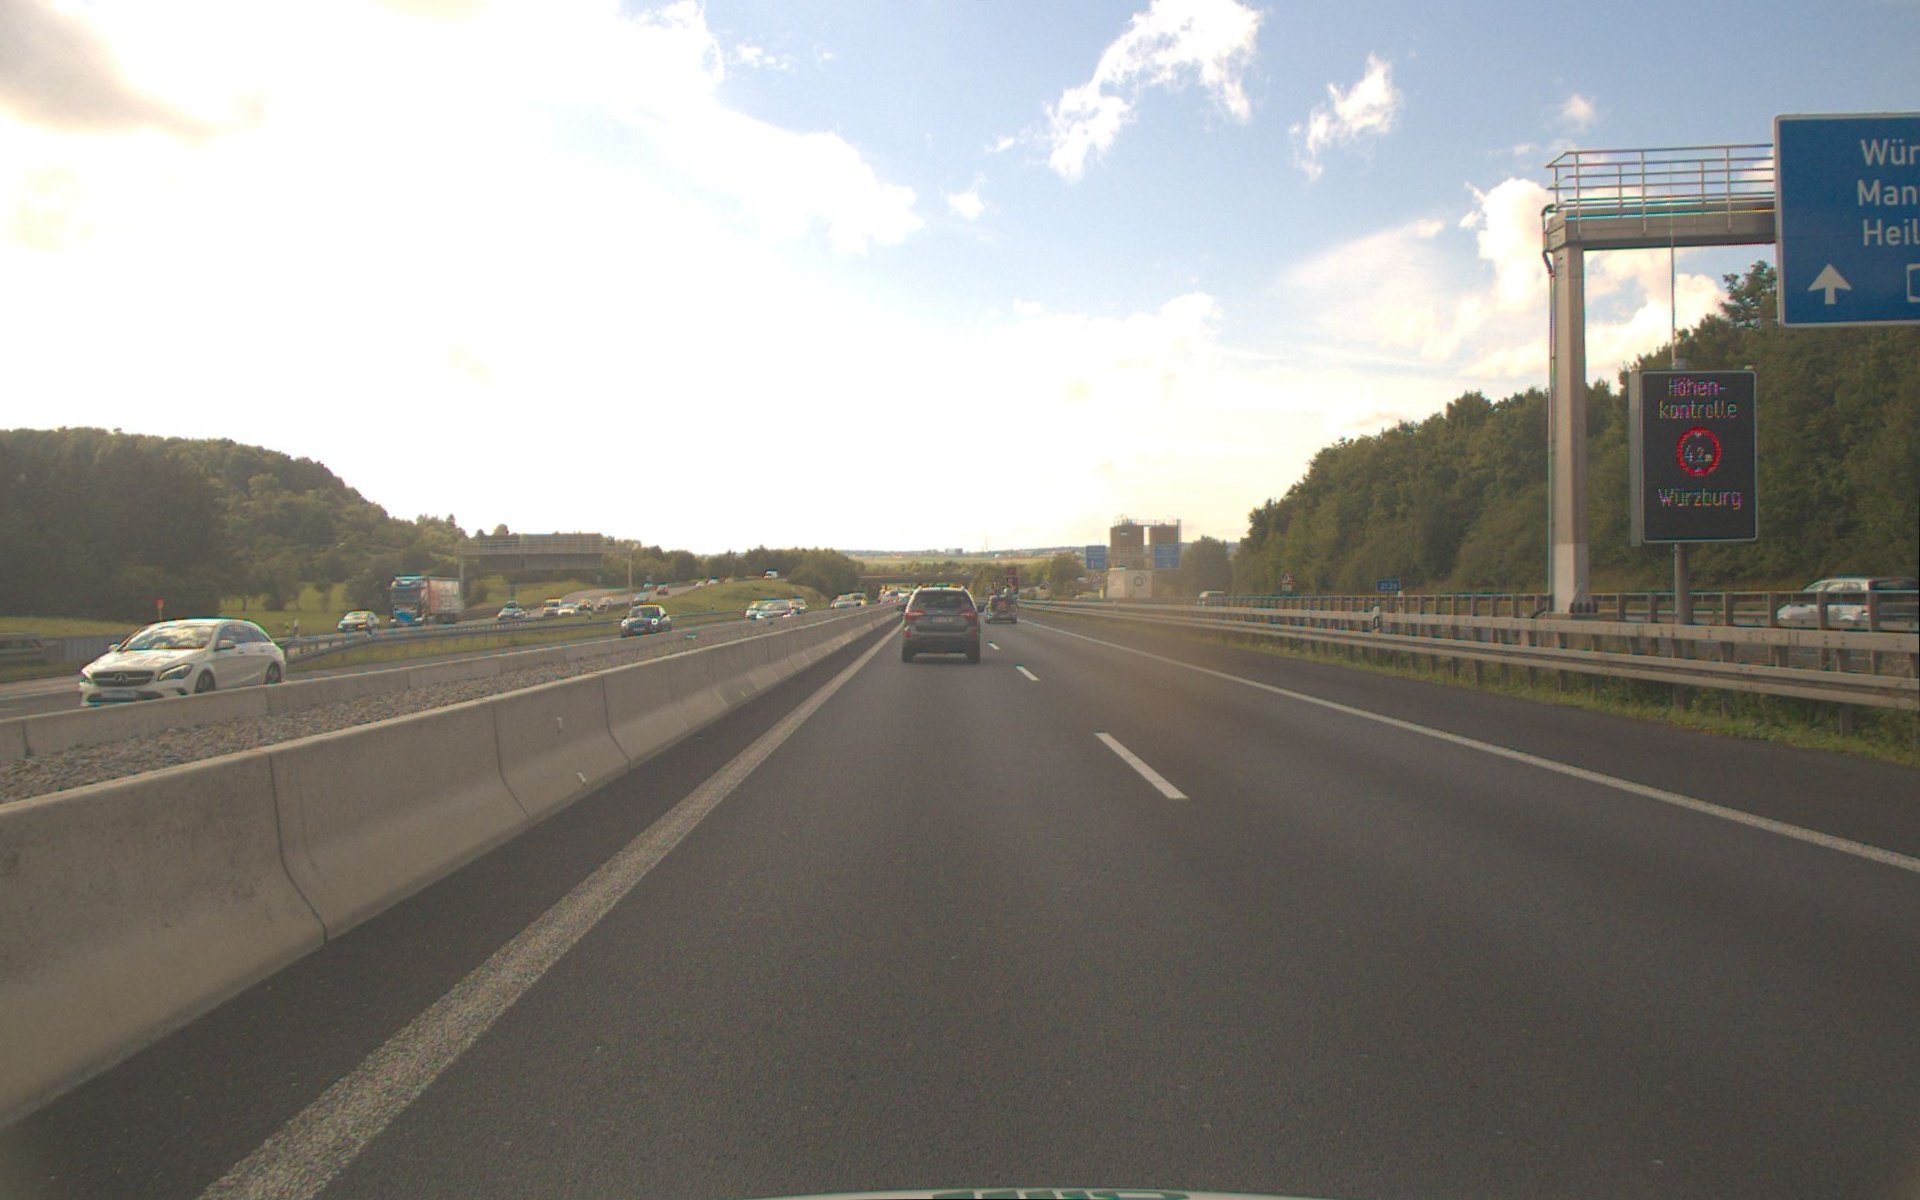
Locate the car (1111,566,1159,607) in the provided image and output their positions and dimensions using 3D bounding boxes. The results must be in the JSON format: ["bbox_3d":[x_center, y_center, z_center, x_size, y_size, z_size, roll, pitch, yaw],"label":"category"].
[{"bbox_3d":[16.649,-1.252,157.645,3.504,3.741,7.547,-2,0,-1],"label":"car"}]

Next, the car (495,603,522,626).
[{"bbox_3d":[-40.949,1.305,150.025,1.739,1.930,4.390,-2,0,-8],"label":"car"}]

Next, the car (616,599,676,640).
[{"bbox_3d":[-13.350,0.809,70.513,1.764,1.646,4.301,-2,0,-1],"label":"car"}]

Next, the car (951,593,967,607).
[{"bbox_3d":[-0.197,0.021,214.118,1.935,1.810,4.119,-2,0,-1],"label":"car"}]

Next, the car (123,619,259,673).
[{"bbox_3d":[-23.565,1.378,50.891,1.954,1.476,5.000,-2,0,-2],"label":"car"}]

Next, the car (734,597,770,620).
[{"bbox_3d":[-14.375,0.582,114.477,1.953,1.481,4.180,-2,0,-1],"label":"car"}]

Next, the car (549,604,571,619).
[{"bbox_3d":[-40.633,1.156,168.090,1.740,1.425,4.389,-2,0,-9],"label":"car"}]

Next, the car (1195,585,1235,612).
[{"bbox_3d":[16.992,-0.090,110.345,1.953,1.747,3.999,-2,0,-1],"label":"car"}]

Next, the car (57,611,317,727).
[{"bbox_3d":[-12.537,1.045,27.246,1.953,1.646,5.001,-2,0,-1],"label":"car"}]

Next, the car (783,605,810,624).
[{"bbox_3d":[-14.221,1.216,144.381,1.953,1.559,4.506,-2,0,-1],"label":"car"}]

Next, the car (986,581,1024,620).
[{"bbox_3d":[2.565,0.013,95.428,1.953,2.117,3.999,-2,0,-1],"label":"car"}]

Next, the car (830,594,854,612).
[{"bbox_3d":[-11.153,0.280,156.673,1.953,1.559,5.020,-2,0,-1],"label":"car"}]

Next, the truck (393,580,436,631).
[{"bbox_3d":[-42.516,0.452,128.928,1.955,3.827,5.144,-2,0,-5],"label":"truck"}]

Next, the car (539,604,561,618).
[{"bbox_3d":[-45.935,1.230,185.317,1.738,1.575,4.883,-2,0,-6],"label":"car"}]

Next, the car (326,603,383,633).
[{"bbox_3d":[-35.411,1.018,96.812,1.764,1.646,4.301,-2,0,-1],"label":"car"}]

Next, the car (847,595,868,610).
[{"bbox_3d":[-11.137,0.267,179.639,1.953,1.559,5.746,-2,0,-1],"label":"car"}]

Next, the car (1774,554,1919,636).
[{"bbox_3d":[20.779,-0.124,38.125,1.953,1.738,3.999,-2,0,-1],"label":"car"}]

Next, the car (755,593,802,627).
[{"bbox_3d":[-9.500,0.507,86.708,1.888,1.646,5.417,-2,0,-1],"label":"car"}]

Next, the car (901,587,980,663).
[{"bbox_3d":[-0.431,0.573,39.129,1.714,1.659,3.609,-2,0,0],"label":"car"}]
